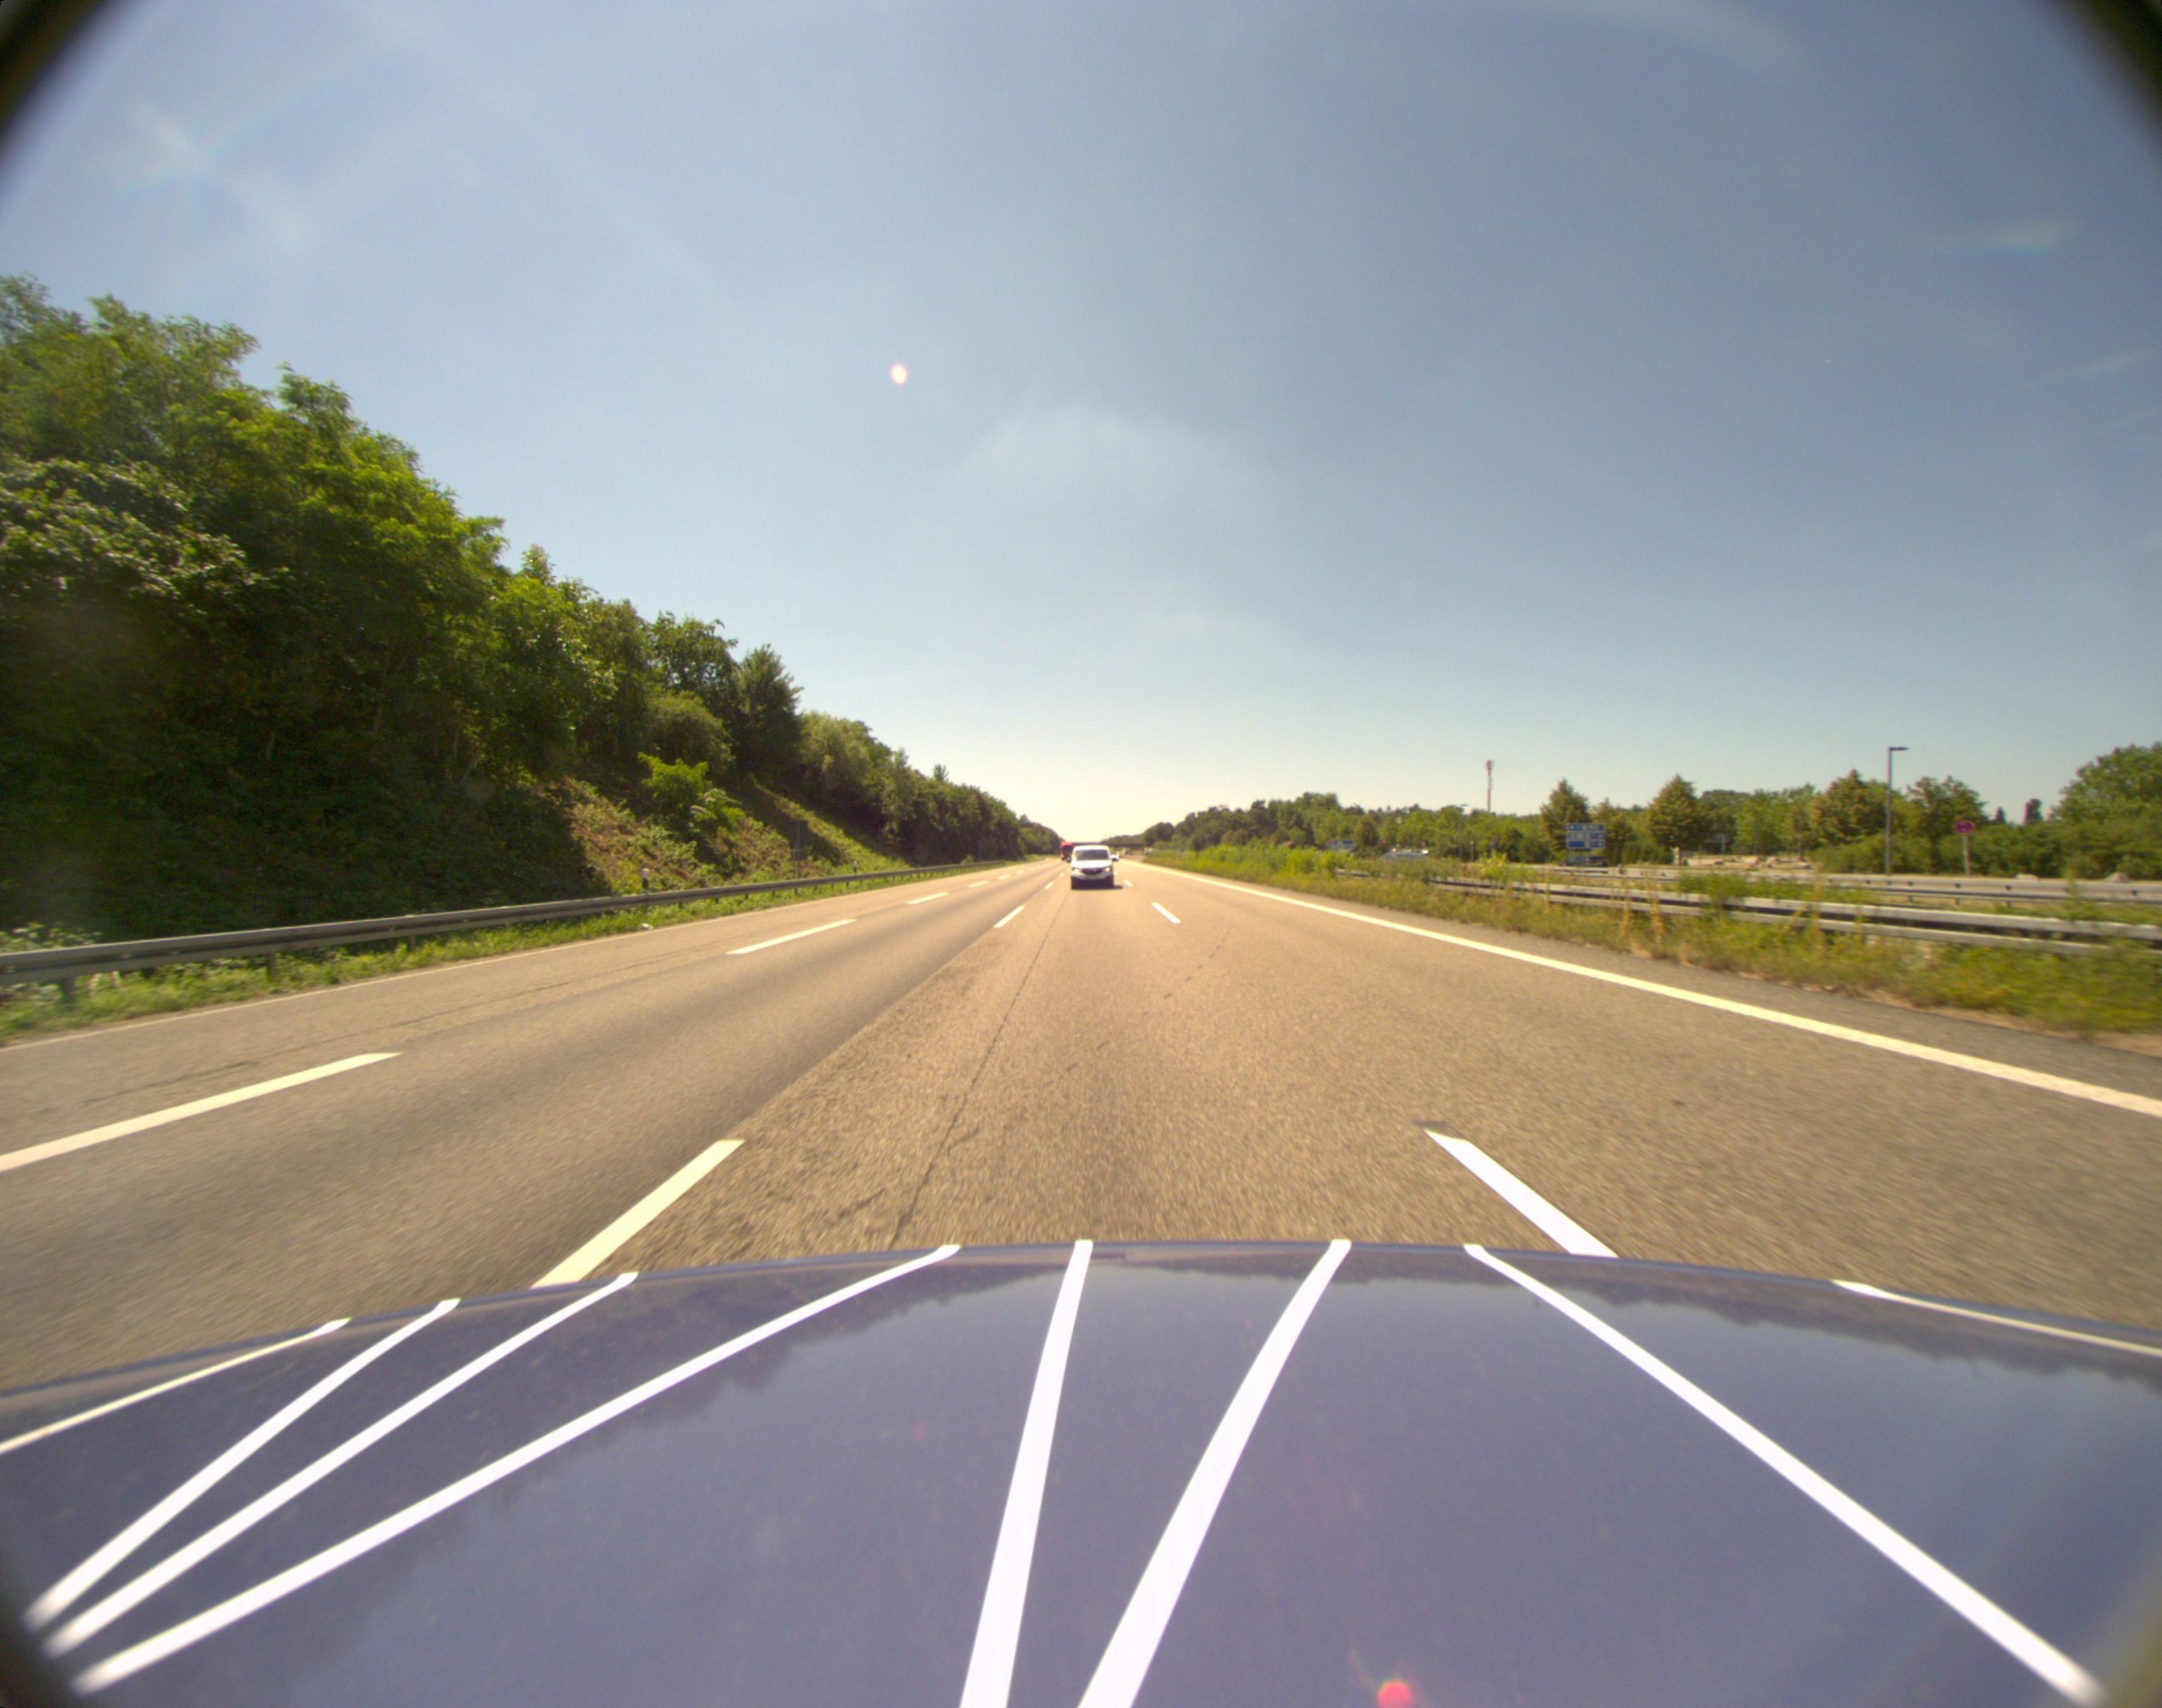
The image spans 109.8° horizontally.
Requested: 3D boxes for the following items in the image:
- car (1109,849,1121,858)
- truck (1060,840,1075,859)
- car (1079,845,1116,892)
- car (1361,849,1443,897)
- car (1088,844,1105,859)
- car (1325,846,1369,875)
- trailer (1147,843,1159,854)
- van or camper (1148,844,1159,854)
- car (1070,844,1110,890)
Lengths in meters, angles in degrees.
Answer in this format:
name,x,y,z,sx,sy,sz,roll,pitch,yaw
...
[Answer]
name,x,y,z,sx,sy,sz,roll,pitch,yaw
car,5.323,-0.074,119.603,1.775,1.410,3.401,-2,1,2
truck,-2.685,-0.875,153.961,2.540,3.656,5.219,-2,1,2
car,0.657,0.559,31.960,1.413,1.795,3.200,-2,1,0
car,13.326,0.741,31.792,1.758,1.794,3.904,-2,1,1
car,1.640,-0.300,80.412,1.692,1.497,3.793,-2,1,2
car,17.999,0.411,51.656,1.656,1.794,3.800,-2,1,1
trailer,24.191,-1.977,256.422,2.789,3.495,9.368,-2,1,-1
van or camper,19.574,-1.362,204.910,2.424,2.567,6.366,-3,1,1
car,0.379,0.493,32.150,1.501,1.799,3.394,-2,1,0
